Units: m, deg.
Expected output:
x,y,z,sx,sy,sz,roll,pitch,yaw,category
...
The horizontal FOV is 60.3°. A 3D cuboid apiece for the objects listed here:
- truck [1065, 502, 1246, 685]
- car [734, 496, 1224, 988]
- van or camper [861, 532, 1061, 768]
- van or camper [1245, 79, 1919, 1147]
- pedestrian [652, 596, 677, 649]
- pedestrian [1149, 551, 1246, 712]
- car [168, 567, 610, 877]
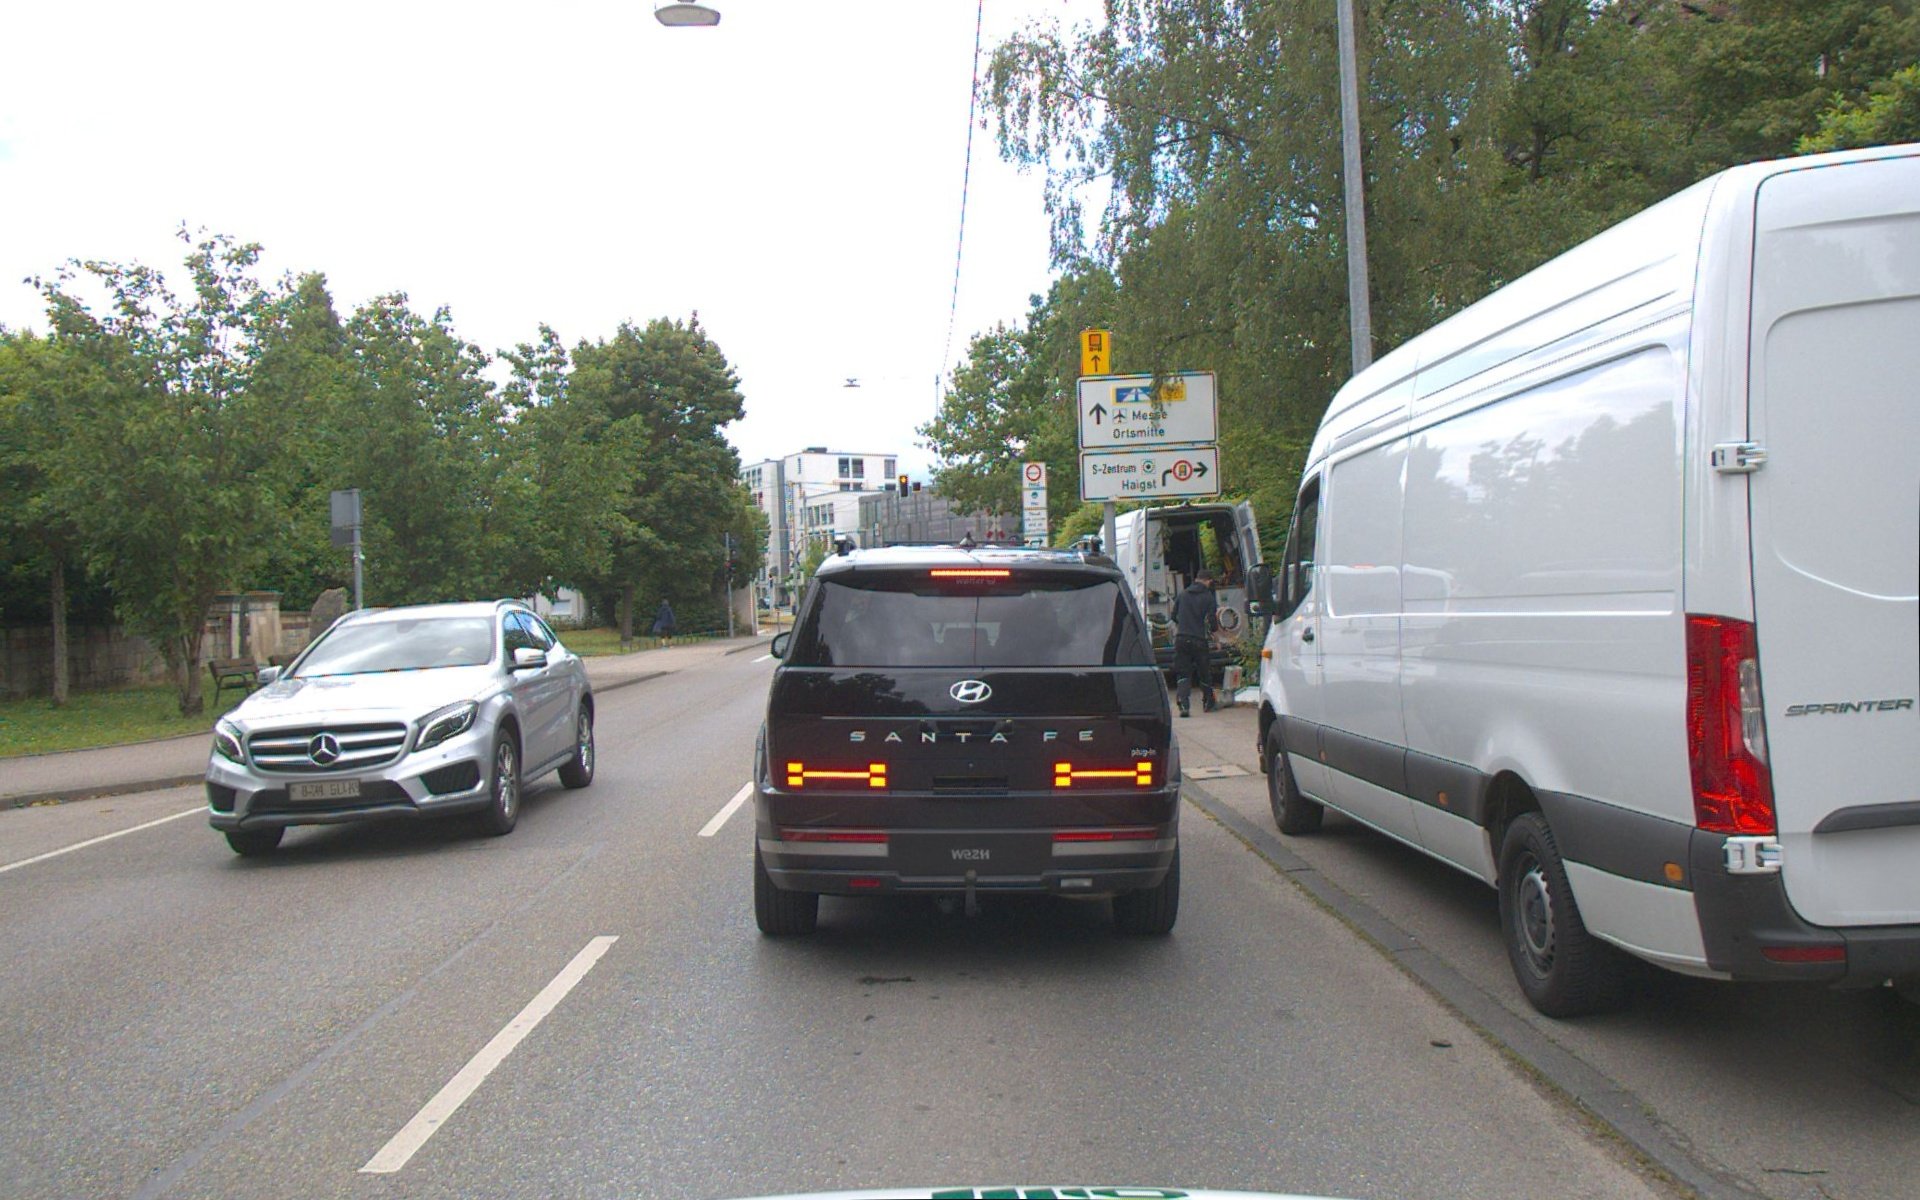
x,y,z,sx,sy,sz,roll,pitch,yaw,category
3.074,-0.084,27.215,1.904,2.606,5.212,-3,0,-4,truck
0.045,0.528,8.264,1.851,1.851,3.999,0,0,-1,car
-0.018,0.439,16.742,1.719,2.049,3.999,-2,0,-1,van or camper
2.904,-0.001,7.438,1.953,2.665,6.540,-2,0,-1,van or camper
-9.932,0.747,55.628,0.724,1.745,0.791,-2,0,-8,pedestrian
2.769,0.355,19.259,0.745,1.828,0.869,-2,0,38,pedestrian
-3.774,0.706,11.745,1.749,1.682,4.118,-4,0,-2,car
